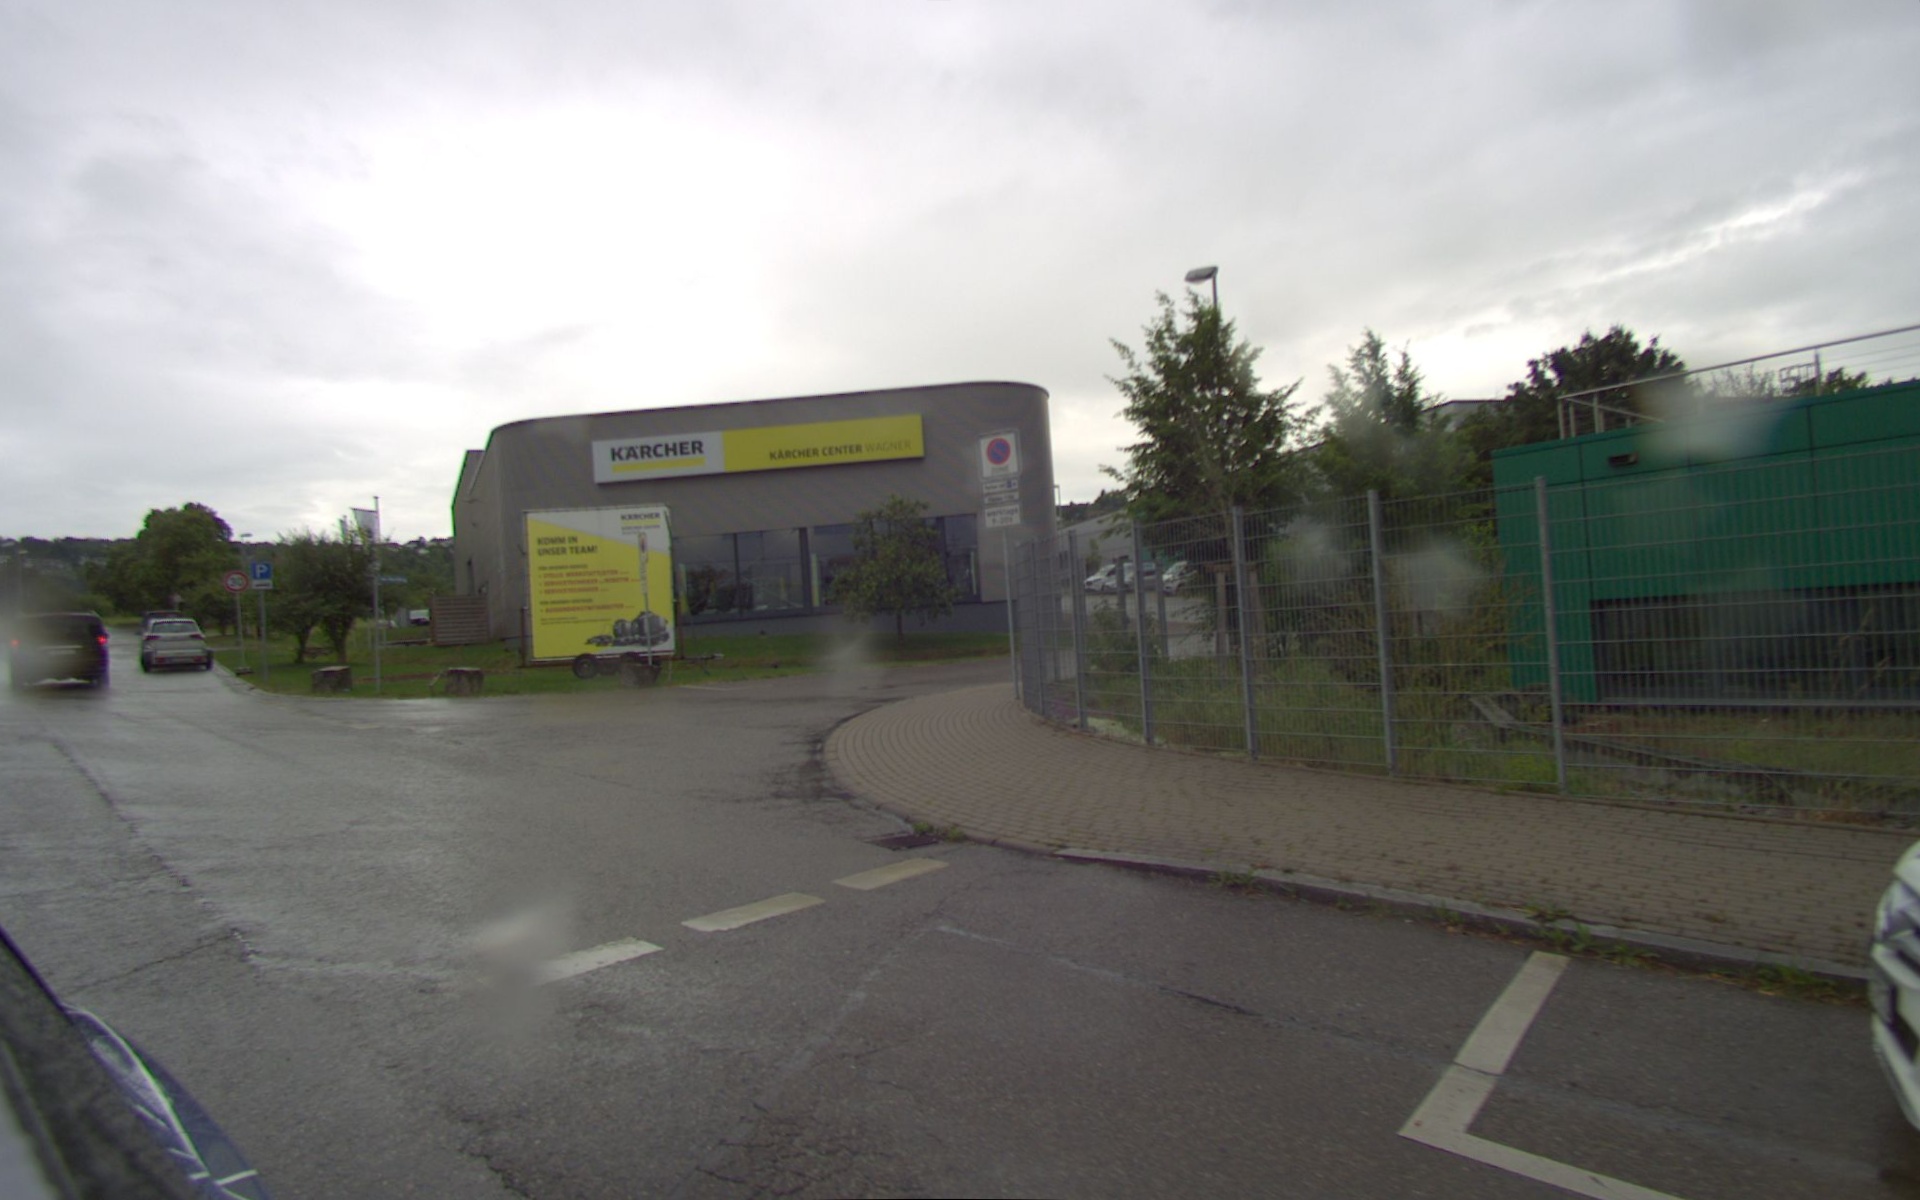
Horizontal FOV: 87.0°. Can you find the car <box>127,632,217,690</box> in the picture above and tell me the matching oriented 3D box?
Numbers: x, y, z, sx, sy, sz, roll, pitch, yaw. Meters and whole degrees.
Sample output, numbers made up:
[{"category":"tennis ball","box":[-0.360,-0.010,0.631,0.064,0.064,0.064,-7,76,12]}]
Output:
[{"category":"car","box":[-28.163,2.147,36.129,4.001,1.928,1.971,-3,-2,44]}]

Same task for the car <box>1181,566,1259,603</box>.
[{"category":"car","box":[15.394,-0.913,60.045,3.932,2.072,2.006,-1,-1,-16]}]

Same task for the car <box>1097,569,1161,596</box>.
[{"category":"car","box":[11.925,-1.247,71.637,3.933,1.763,2.005,-1,-1,-15]}]

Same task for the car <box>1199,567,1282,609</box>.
[{"category":"car","box":[15.676,-0.680,56.641,3.933,2.199,2.005,-1,-1,-14]}]

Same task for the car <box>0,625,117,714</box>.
[{"category":"car","box":[-23.365,1.727,26.130,4.513,2.029,2.039,-3,-1,45]}]

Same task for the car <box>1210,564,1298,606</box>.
[{"category":"car","box":[15.792,-0.799,54.442,3.933,2.095,2.005,-1,-1,-13]}]

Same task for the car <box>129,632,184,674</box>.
[{"category":"car","box":[-41.421,2.698,52.251,1.967,2.029,4.010,-1,-2,-35]}]

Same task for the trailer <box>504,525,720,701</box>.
[{"category":"trailer","box":[-8.704,0.328,25.672,4.631,4.120,2.390,-2,-1,-2]}]
